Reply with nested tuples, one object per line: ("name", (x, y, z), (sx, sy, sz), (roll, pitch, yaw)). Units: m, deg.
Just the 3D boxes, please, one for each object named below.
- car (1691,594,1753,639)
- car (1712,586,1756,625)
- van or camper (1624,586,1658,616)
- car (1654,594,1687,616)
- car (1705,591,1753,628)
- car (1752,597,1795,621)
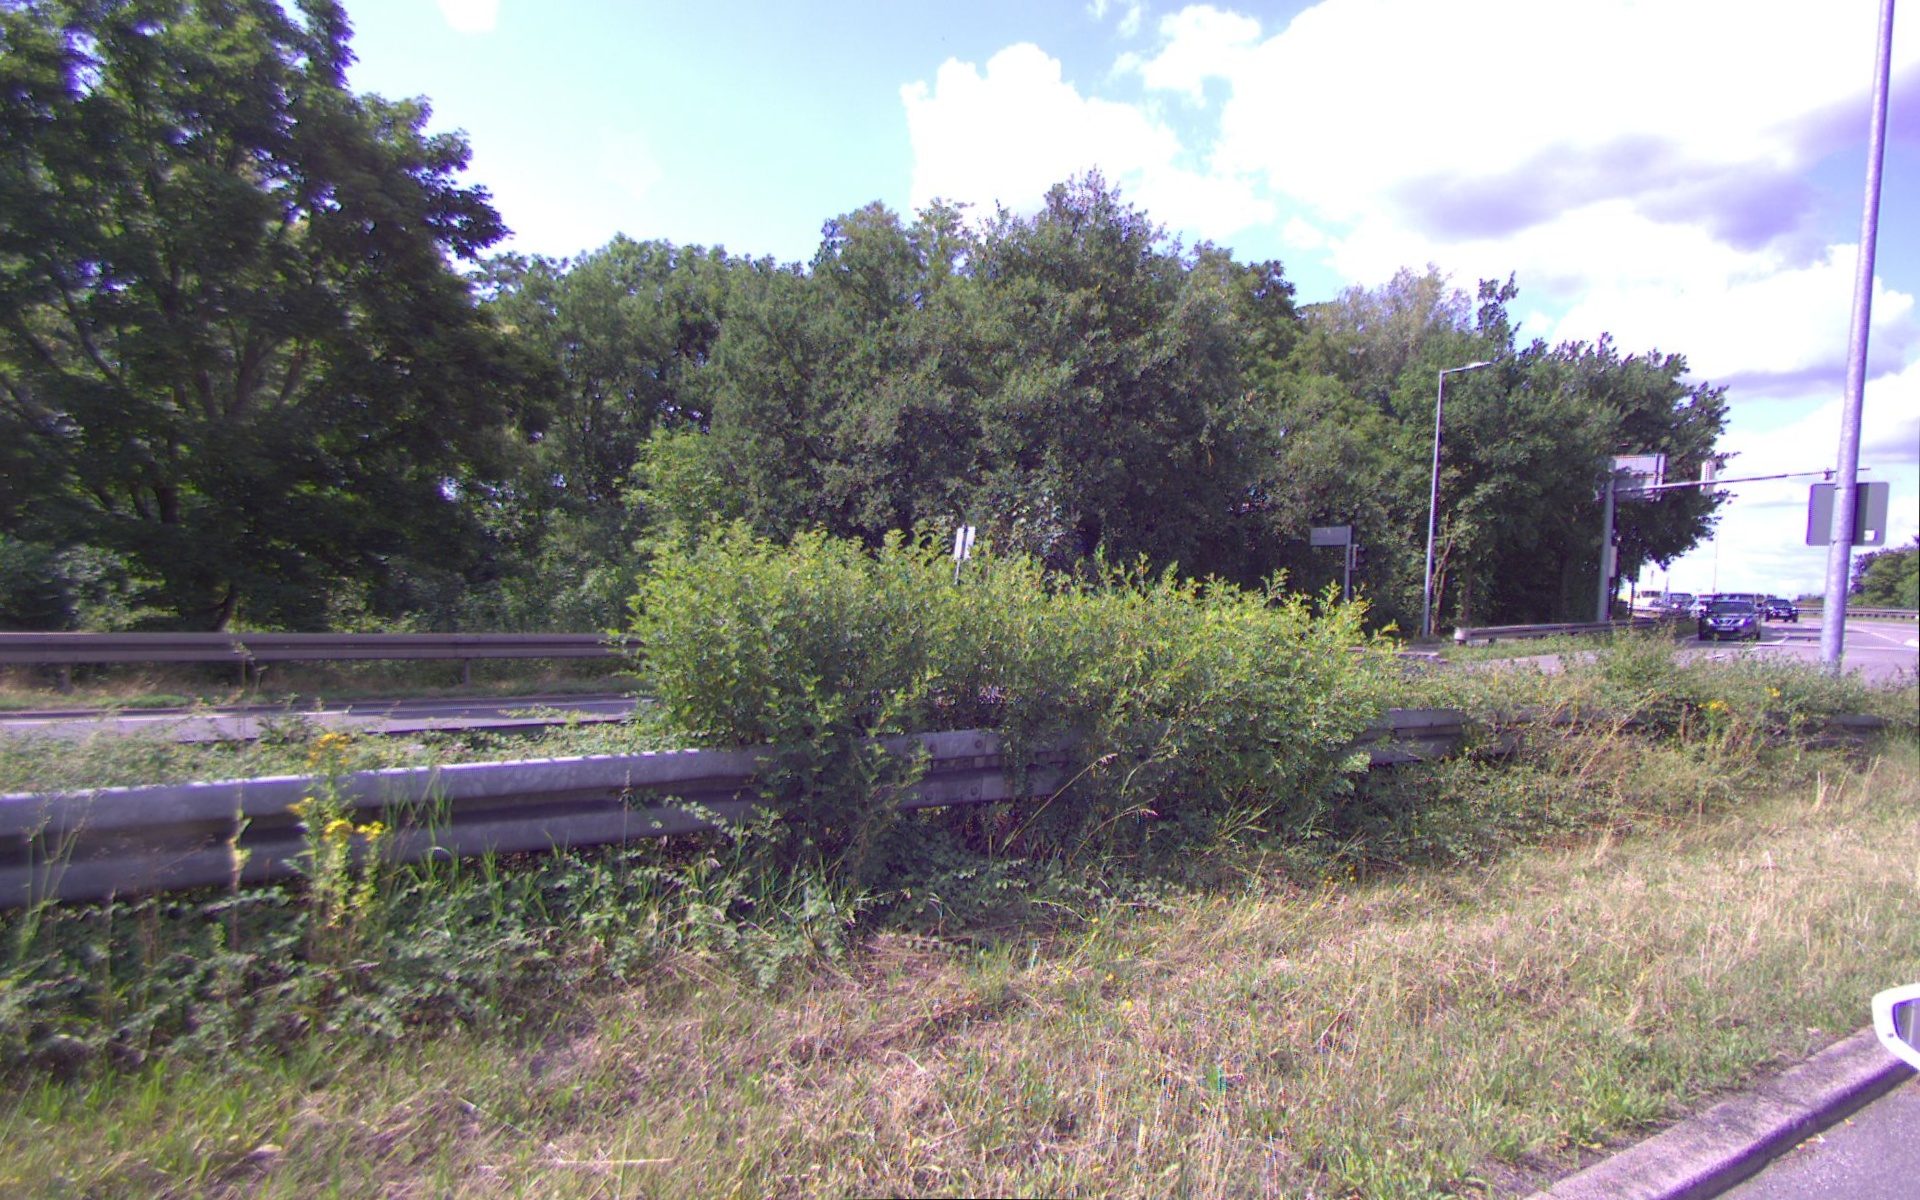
("car", (30.689, 0.685, 40.410), (1.816, 1.639, 3.982), (2, 0, 39))
("car", (44.853, 0.337, 58.259), (1.819, 2.128, 4.311), (2, 1, 36))
("van or camper", (64.630, 0.064, 95.424), (1.963, 2.719, 6.852), (2, 1, 28))
("car", (58.022, 0.405, 82.076), (1.817, 1.728, 4.316), (2, 1, 32))
("car", (39.947, 0.487, 52.125), (1.820, 1.826, 4.307), (2, 1, 39))
("car", (55.524, 0.603, 68.621), (1.706, 1.516, 4.037), (2, 1, 31))
